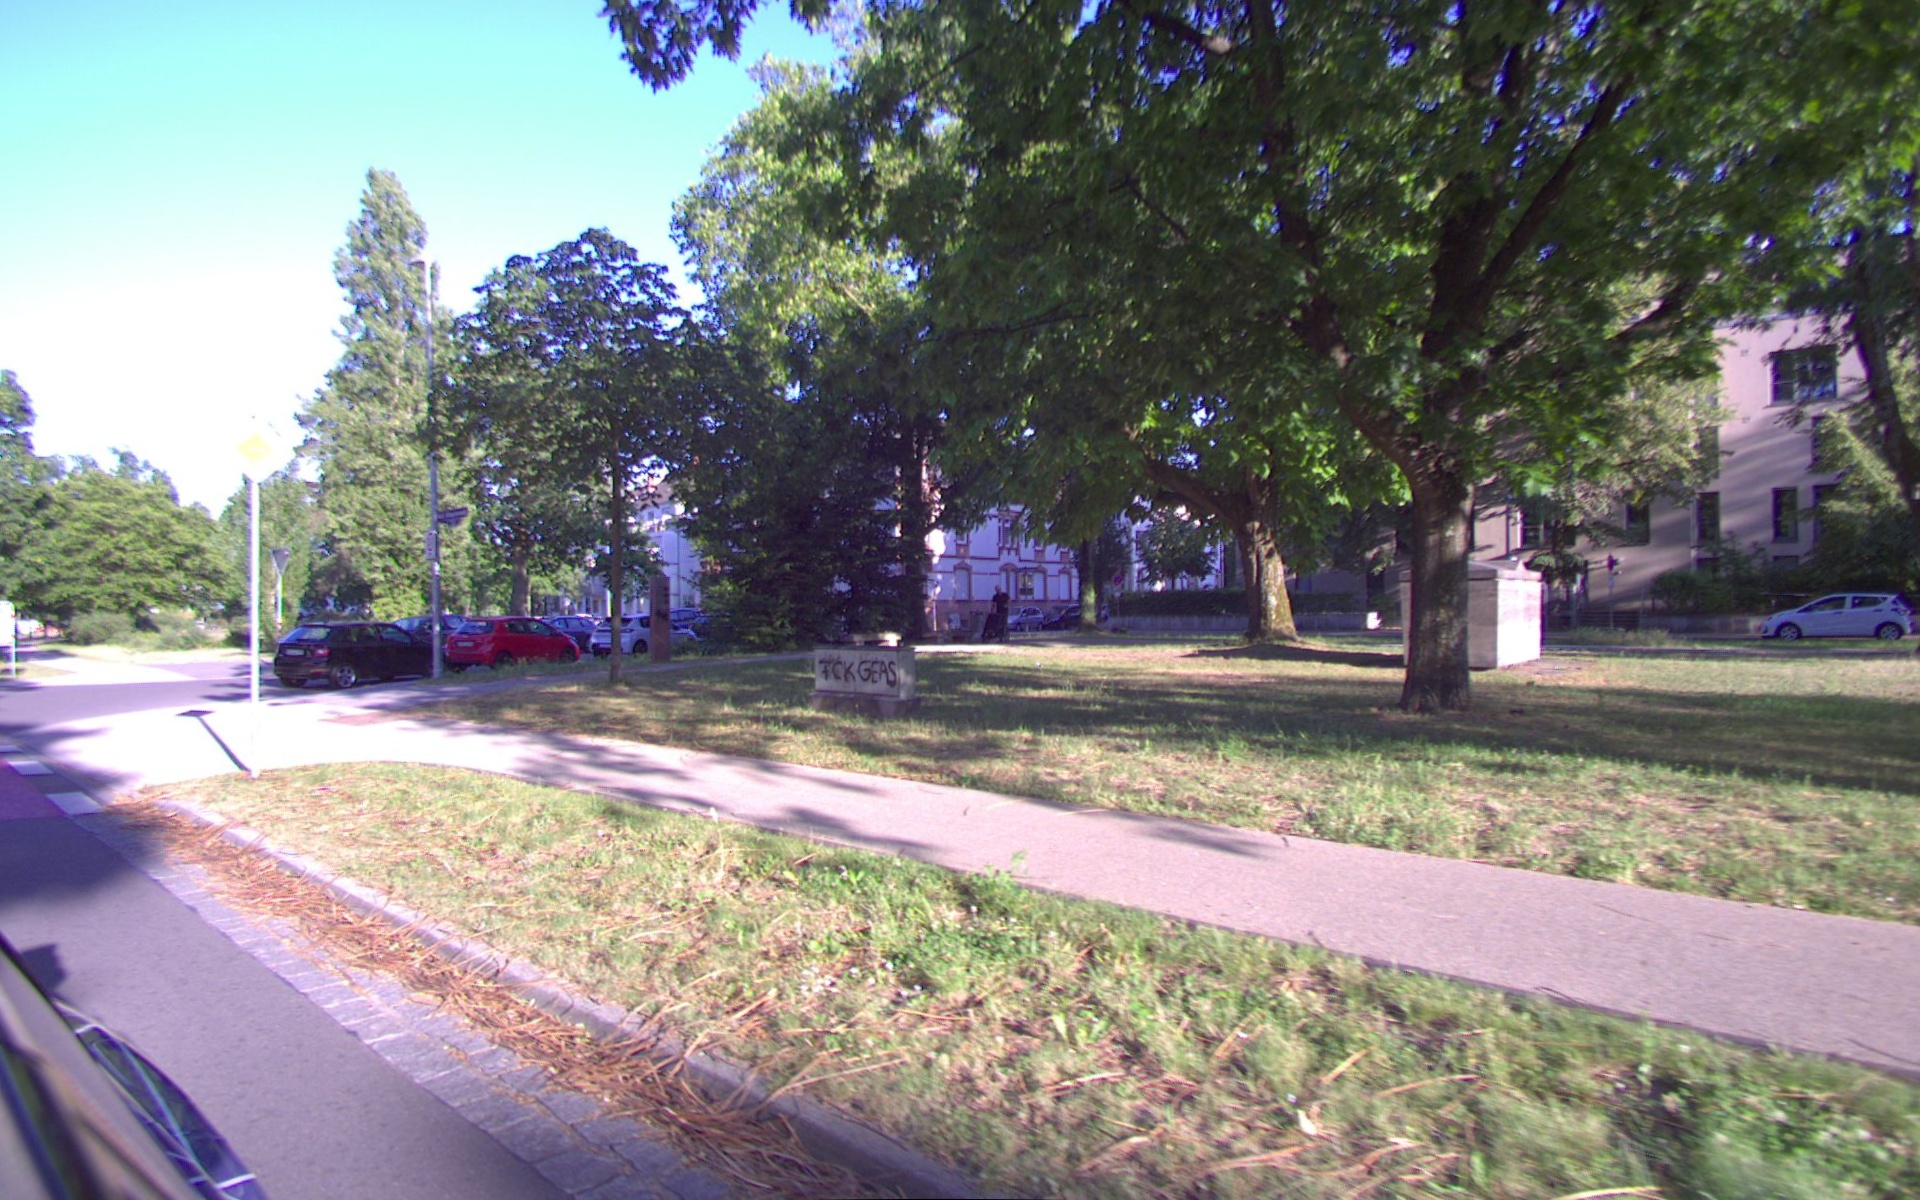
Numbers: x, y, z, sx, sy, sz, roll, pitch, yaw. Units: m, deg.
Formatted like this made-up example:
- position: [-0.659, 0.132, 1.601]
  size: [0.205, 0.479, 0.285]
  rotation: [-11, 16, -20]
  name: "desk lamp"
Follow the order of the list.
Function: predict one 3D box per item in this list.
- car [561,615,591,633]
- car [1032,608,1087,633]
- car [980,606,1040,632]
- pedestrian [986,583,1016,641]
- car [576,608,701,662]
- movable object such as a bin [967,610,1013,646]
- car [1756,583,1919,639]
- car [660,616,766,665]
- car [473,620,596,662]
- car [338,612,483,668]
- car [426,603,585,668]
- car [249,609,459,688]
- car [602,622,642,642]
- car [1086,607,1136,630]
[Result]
- position: [-38.252, 2.347, 100.698]
  size: [1.859, 1.586, 4.612]
  rotation: [0, 0, -34]
  name: "car"
- position: [6.915, 1.388, 70.047]
  size: [1.890, 1.586, 3.946]
  rotation: [1, 0, 40]
  name: "car"
- position: [3.293, 1.236, 66.201]
  size: [1.890, 1.586, 3.946]
  rotation: [1, 0, 41]
  name: "car"
- position: [1.211, 0.351, 30.066]
  size: [0.668, 1.708, 0.659]
  rotation: [-2, 0, 22]
  name: "pedestrian"
- position: [-10.421, 1.095, 33.061]
  size: [1.877, 1.586, 3.973]
  rotation: [1, 0, 20]
  name: "car"
- position: [0.872, 0.785, 29.113]
  size: [0.943, 0.997, 1.323]
  rotation: [-1, -1, 23]
  name: "movable object such as a bin"
- position: [26.963, 0.339, 31.174]
  size: [3.736, 1.630, 1.973]
  rotation: [-2, 0, 41]
  name: "car"
- position: [-9.017, 1.446, 37.268]
  size: [1.877, 1.586, 3.972]
  rotation: [1, 0, 21]
  name: "car"
- position: [-15.402, 1.443, 36.870]
  size: [1.825, 1.411, 4.250]
  rotation: [-1, -1, 19]
  name: "car"
- position: [-17.129, 1.211, 31.757]
  size: [1.824, 1.643, 3.825]
  rotation: [-1, -1, 17]
  name: "car"
- position: [-12.343, 0.911, 27.783]
  size: [1.874, 1.586, 3.979]
  rotation: [1, 0, 16]
  name: "car"
- position: [-13.857, 1.038, 23.435]
  size: [1.874, 1.586, 3.979]
  rotation: [1, 0, 16]
  name: "car"
- position: [-29.700, 2.802, 88.859]
  size: [1.860, 1.586, 4.608]
  rotation: [0, 0, -38]
  name: "car"
- position: [11.139, 1.325, 74.454]
  size: [1.890, 1.586, 3.946]
  rotation: [1, 0, 40]
  name: "car"
